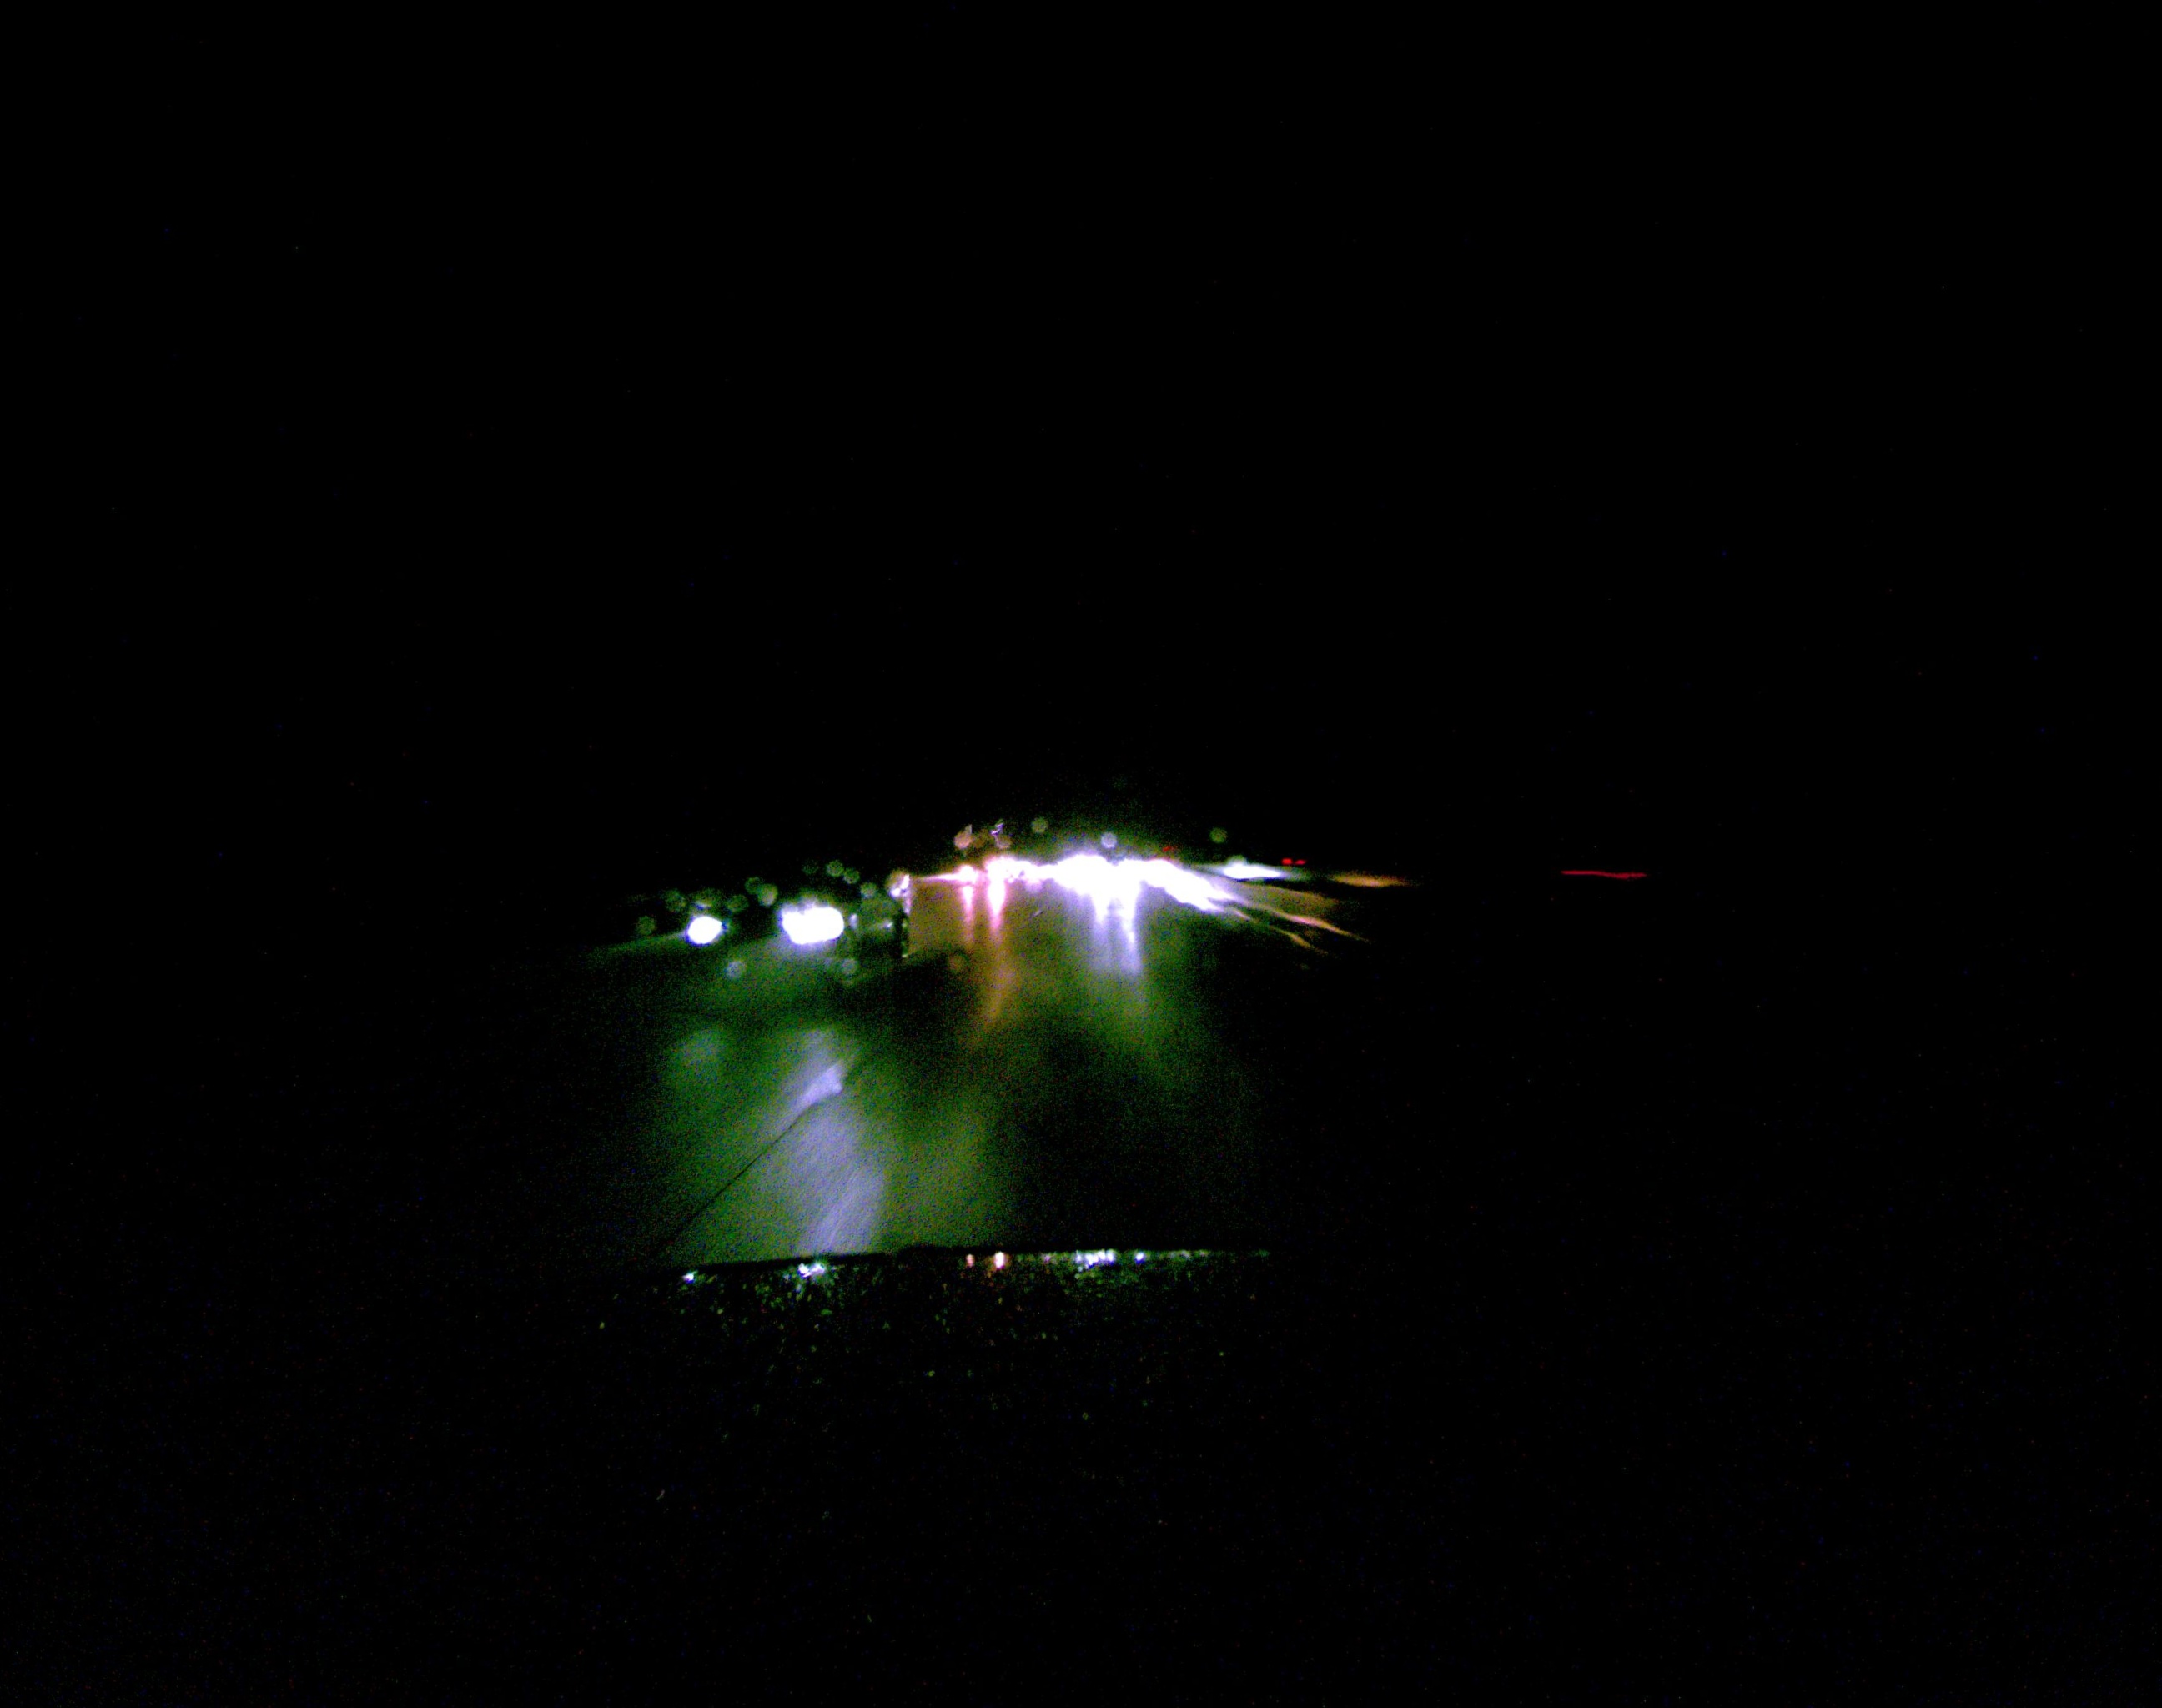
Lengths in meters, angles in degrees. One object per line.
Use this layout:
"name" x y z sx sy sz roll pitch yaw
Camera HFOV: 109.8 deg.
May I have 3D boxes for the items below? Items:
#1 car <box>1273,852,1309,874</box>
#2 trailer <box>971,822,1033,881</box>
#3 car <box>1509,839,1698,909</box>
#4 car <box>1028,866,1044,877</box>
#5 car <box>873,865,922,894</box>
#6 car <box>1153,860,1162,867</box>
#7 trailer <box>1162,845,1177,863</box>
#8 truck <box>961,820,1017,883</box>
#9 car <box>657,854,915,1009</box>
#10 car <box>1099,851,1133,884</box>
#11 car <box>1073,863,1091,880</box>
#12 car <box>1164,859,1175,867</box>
"car" 18.586 0.763 67.536 1.998 1.709 4.288 -4 0 2
"trailer" -5.991 -0.183 60.137 2.746 3.955 13.821 -4 0 2
"car" 12.721 0.438 18.894 1.808 1.398 4.289 -4 0 2
"car" -7.389 2.838 125.615 1.998 1.615 4.626 -4 0 2
"car" -11.973 1.634 49.881 1.918 1.580 4.117 -4 0 2
"car" 18.638 2.313 185.521 1.998 1.516 4.671 -4 0 3
"trailer" 23.474 0.047 201.996 2.628 4.518 13.723 -4 0 2
"truck" -6.288 -0.177 52.676 2.782 3.946 5.199 -4 0 2
"car" -3.662 0.877 10.234 1.847 1.614 3.679 -4 -1 2
"car" 2.351 0.870 50.234 1.998 2.001 4.001 -3 -1 4
"car" 0.147 2.253 101.043 1.998 2.002 4.000 -4 0 2
"car" 18.536 1.892 159.385 1.998 1.516 4.671 -4 0 3
